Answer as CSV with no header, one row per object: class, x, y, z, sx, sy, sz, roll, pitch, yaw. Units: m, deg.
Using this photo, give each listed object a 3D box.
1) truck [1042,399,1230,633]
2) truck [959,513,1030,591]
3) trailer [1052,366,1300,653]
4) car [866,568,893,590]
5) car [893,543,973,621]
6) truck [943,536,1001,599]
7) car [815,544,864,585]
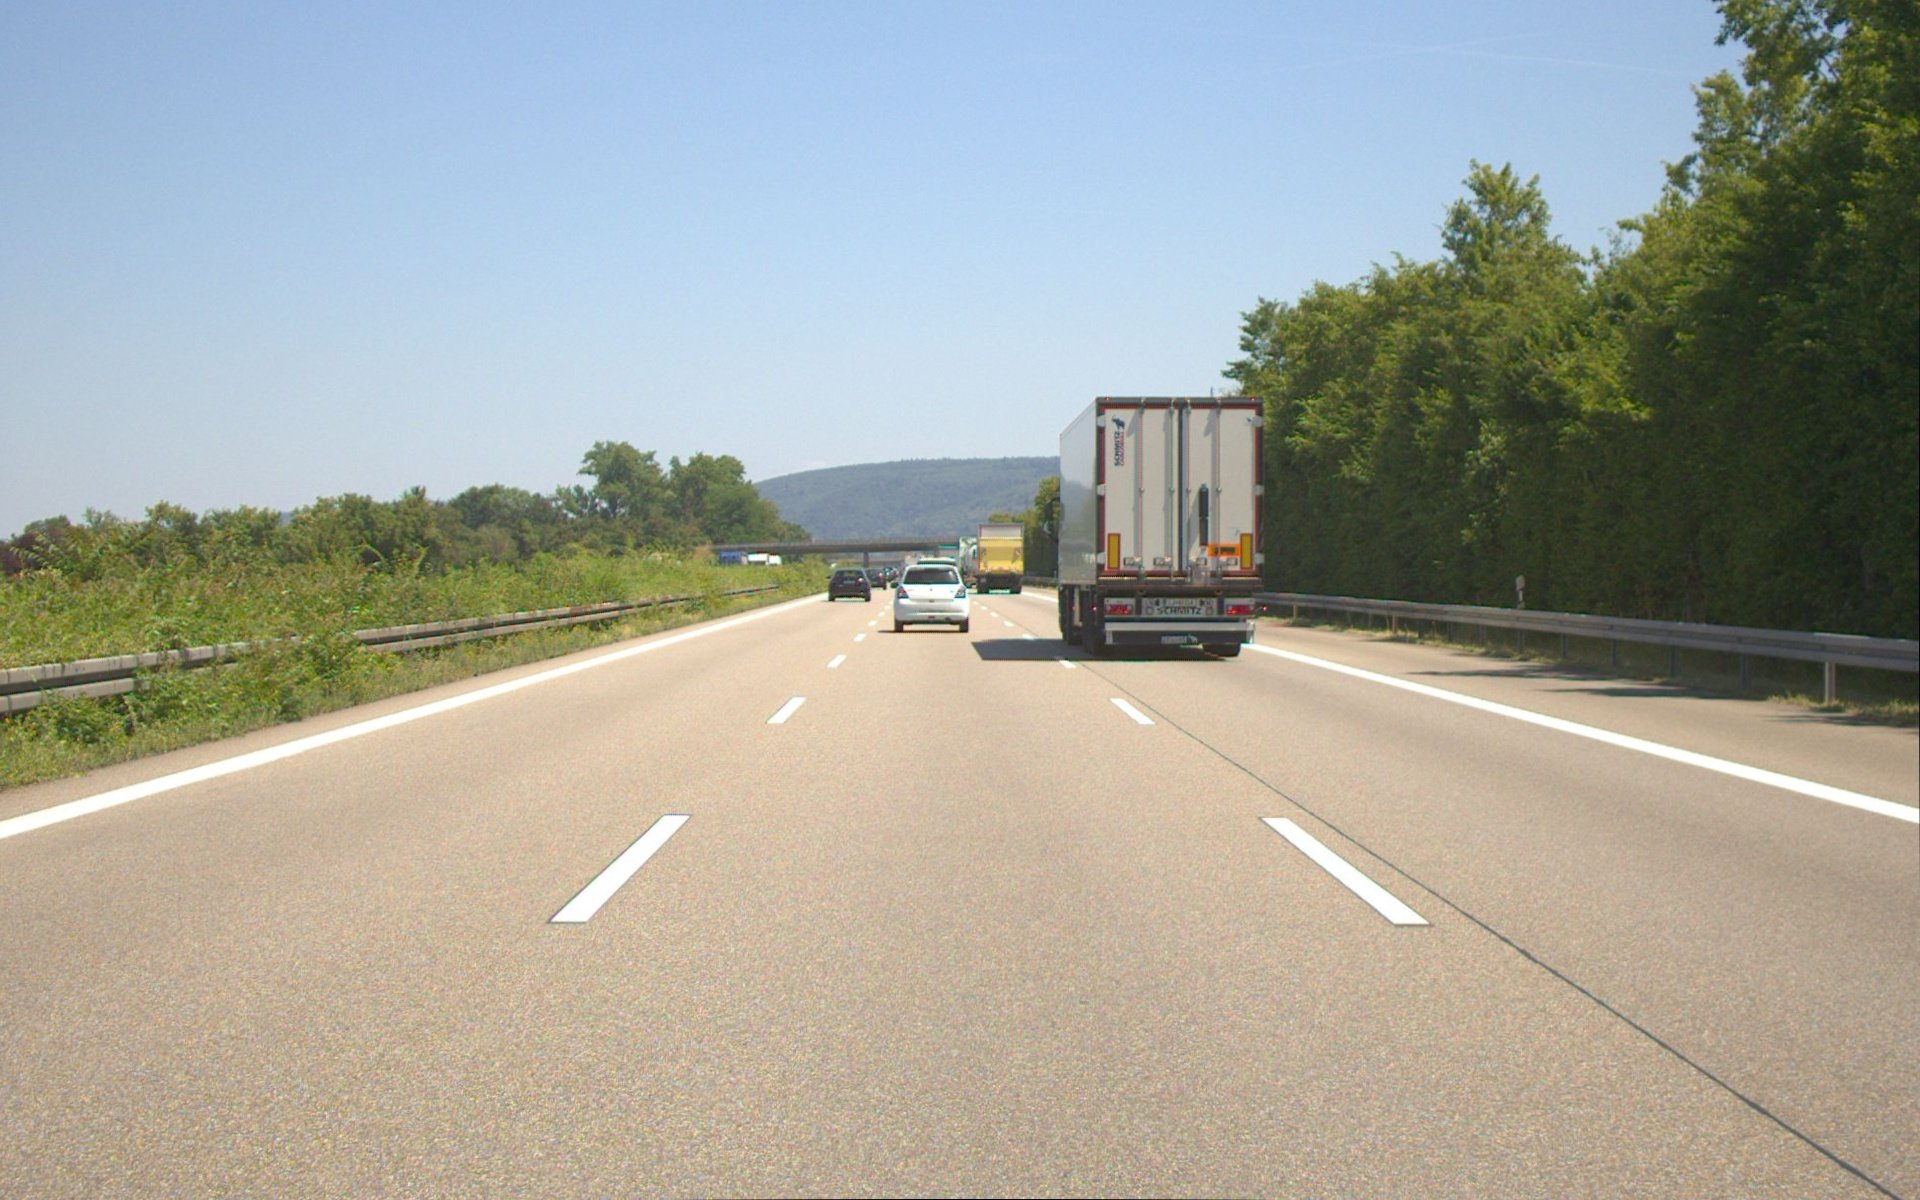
truck,3.378,-1.619,67.725,3.218,4.330,6.591,1,1,-1
truck,1.964,-2.812,201.492,3.871,4.330,13.861,1,1,0
trailer,3.481,-1.484,59.293,3.218,4.330,13.630,1,1,-1
car,-5.515,-1.445,235.519,1.795,1.545,4.000,0,0,0
car,-0.640,-0.436,77.630,1.732,1.678,4.000,-1,1,-1
truck,0.823,-2.480,261.066,4.271,4.636,13.860,0,0,0
car,-5.156,-1.534,147.789,1.993,1.706,4.000,1,1,-1
